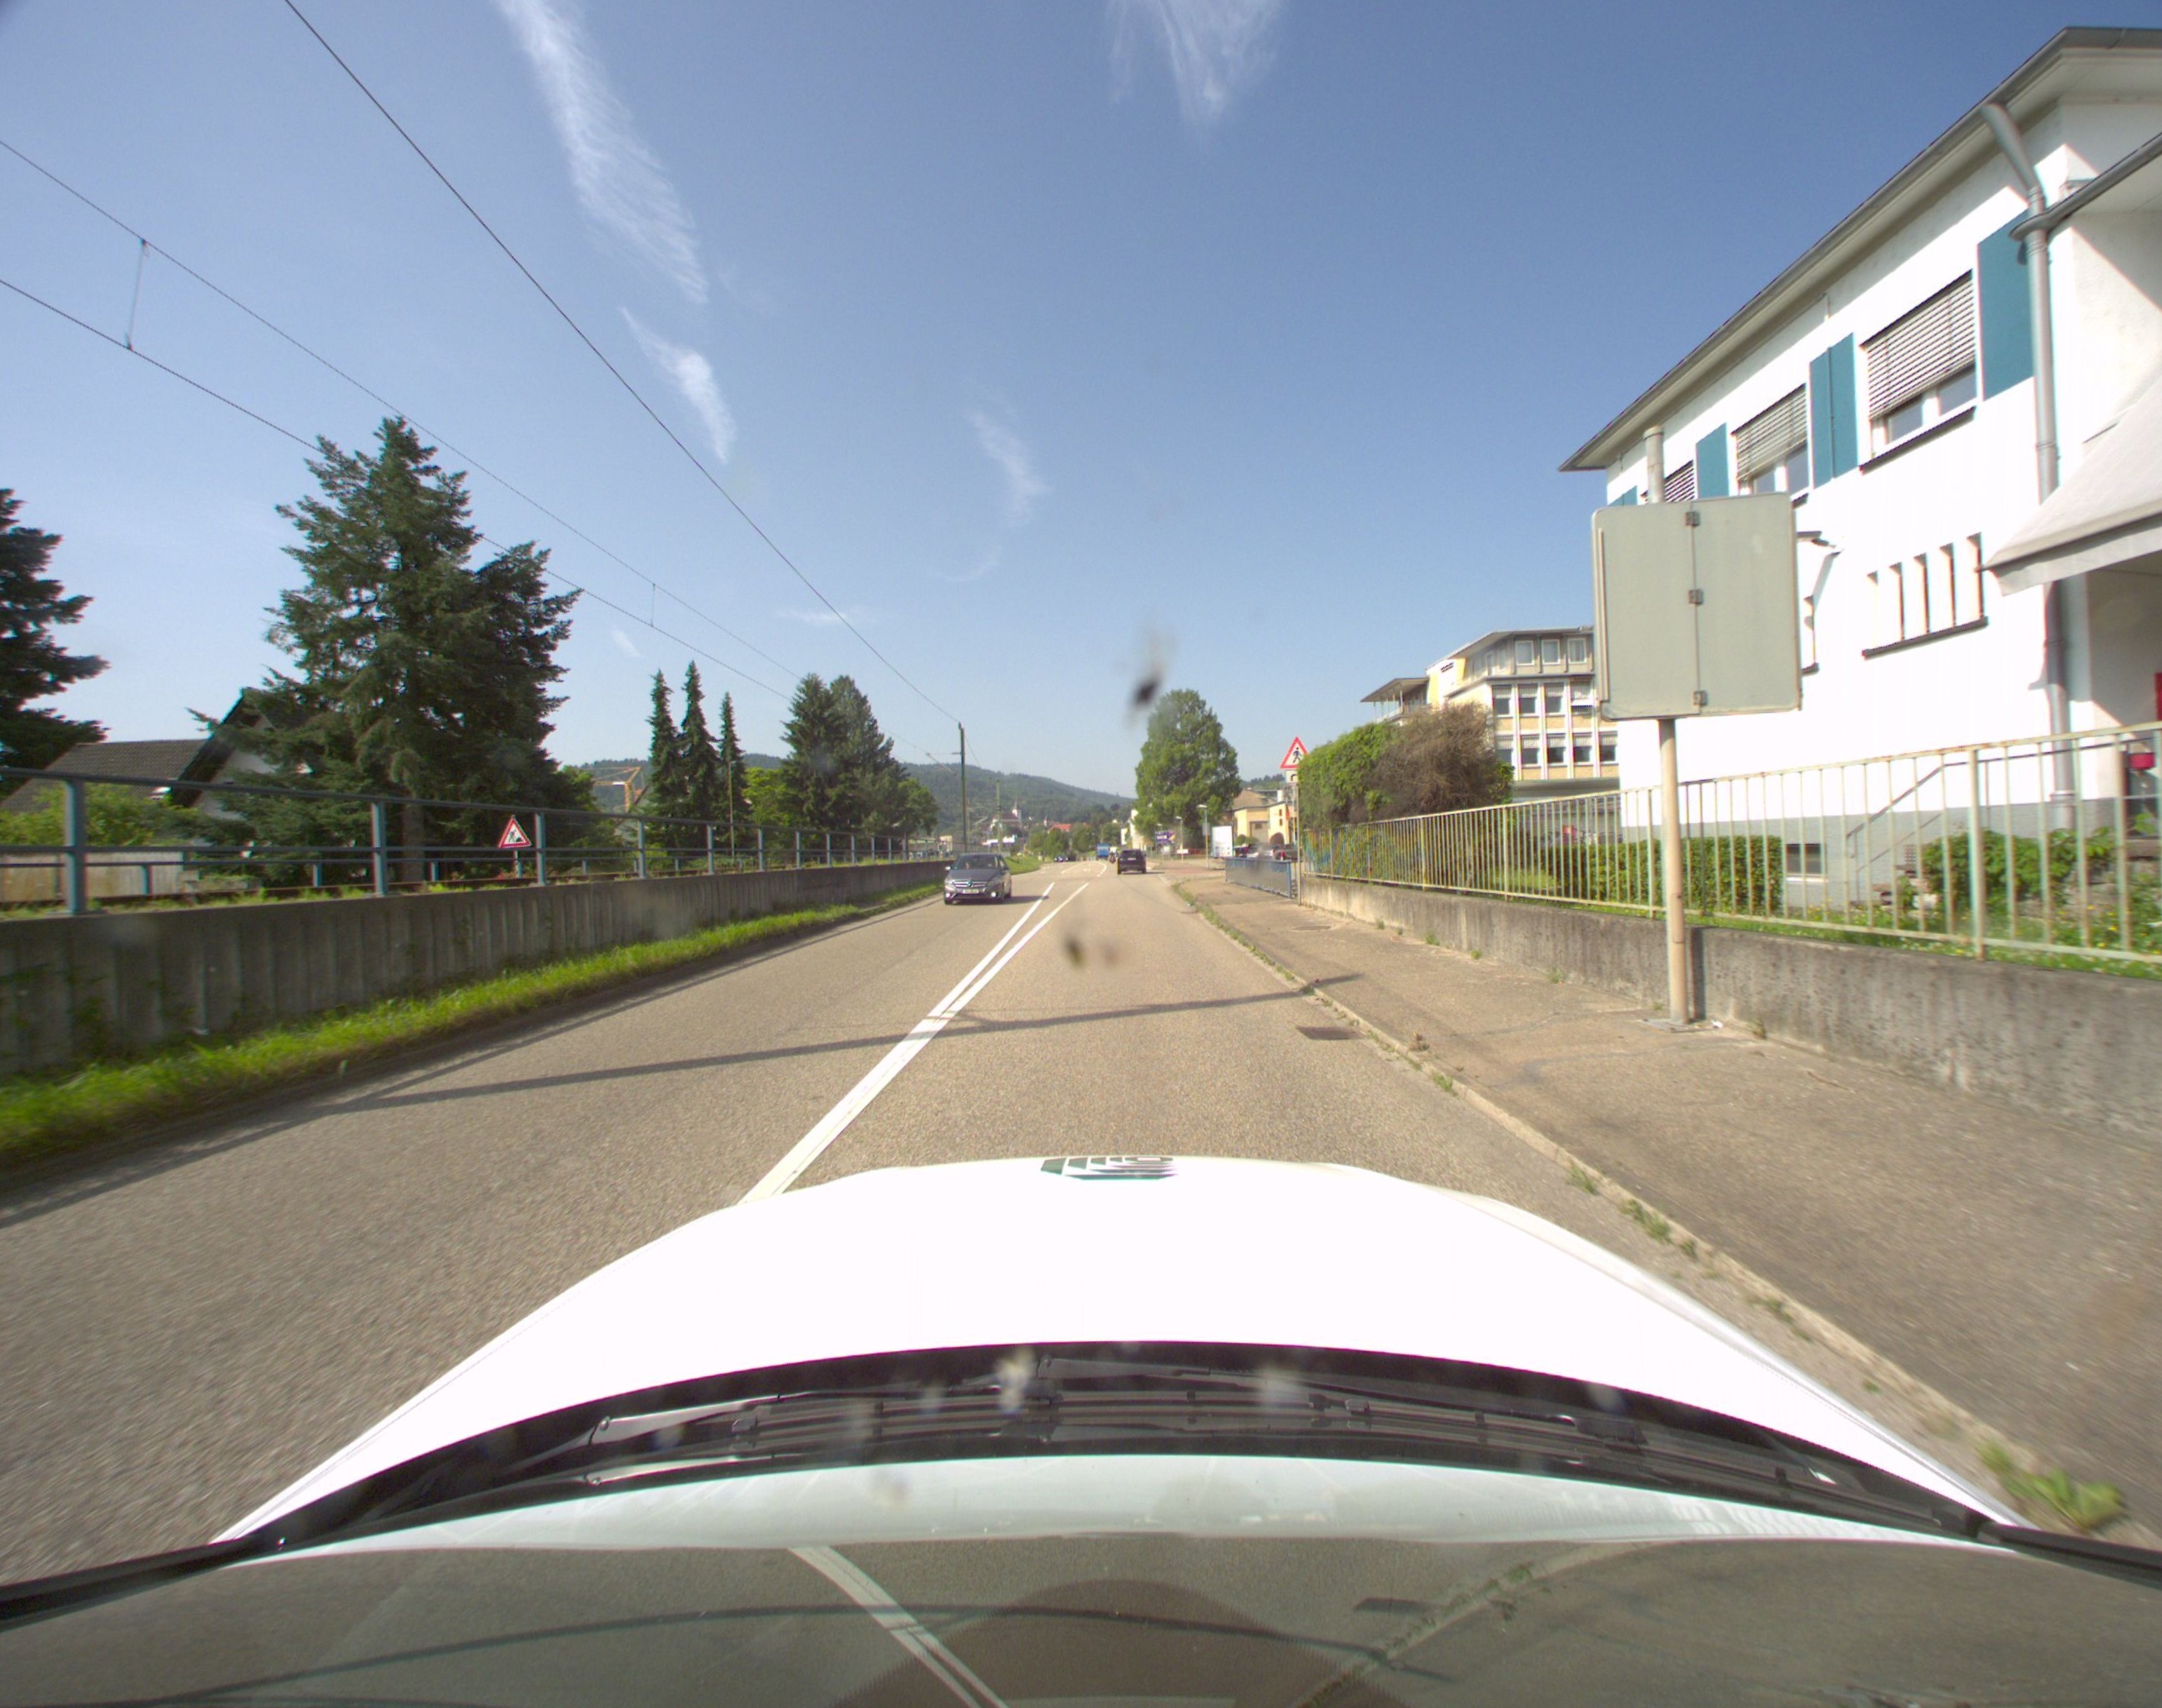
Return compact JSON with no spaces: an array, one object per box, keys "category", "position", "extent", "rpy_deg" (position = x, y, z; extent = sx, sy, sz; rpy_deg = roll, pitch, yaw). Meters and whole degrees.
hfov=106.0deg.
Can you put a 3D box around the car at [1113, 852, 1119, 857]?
[{"category":"car","position":[9.547,0.166,221.898],"extent":[1.759,1.486,4.003],"rpy_deg":[-1,0,3]}]

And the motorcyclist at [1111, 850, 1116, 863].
[{"category":"motorcyclist","position":[3.863,0.297,96.923],"extent":[0.604,1.520,0.863],"rpy_deg":[-2,0,2]}]

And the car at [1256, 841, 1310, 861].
[{"category":"car","position":[17.400,-0.256,70.222],"extent":[4.321,1.504,1.870],"rpy_deg":[-3,0,-27]}]

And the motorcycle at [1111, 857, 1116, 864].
[{"category":"motorcycle","position":[3.885,0.742,96.993],"extent":[0.604,0.753,1.415],"rpy_deg":[-2,0,2]}]

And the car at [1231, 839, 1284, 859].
[{"category":"car","position":[17.665,-0.519,81.530],"extent":[5.048,1.832,1.965],"rpy_deg":[-3,0,-27]}]

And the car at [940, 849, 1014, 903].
[{"category":"car","position":[-3.209,0.638,25.878],"extent":[1.736,1.507,4.200],"rpy_deg":[-2,0,0]}]

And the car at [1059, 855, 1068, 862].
[{"category":"car","position":[-3.578,0.931,165.186],"extent":[1.750,1.429,3.999],"rpy_deg":[-2,0,-1]}]

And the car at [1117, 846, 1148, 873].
[{"category":"car","position":[3.372,0.357,53.204],"extent":[1.911,1.640,4.004],"rpy_deg":[-2,0,4]}]

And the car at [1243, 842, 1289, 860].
[{"category":"car","position":[17.880,-0.287,78.804],"extent":[4.009,1.504,1.870],"rpy_deg":[-3,0,-27]}]

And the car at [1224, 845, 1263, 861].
[{"category":"car","position":[18.724,-0.118,93.783],"extent":[4.183,1.672,1.853],"rpy_deg":[-2,0,-28]}]

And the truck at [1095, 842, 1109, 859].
[{"category":"truck","position":[3.760,-0.669,147.682],"extent":[2.305,2.970,5.964],"rpy_deg":[-2,0,-1]}]
